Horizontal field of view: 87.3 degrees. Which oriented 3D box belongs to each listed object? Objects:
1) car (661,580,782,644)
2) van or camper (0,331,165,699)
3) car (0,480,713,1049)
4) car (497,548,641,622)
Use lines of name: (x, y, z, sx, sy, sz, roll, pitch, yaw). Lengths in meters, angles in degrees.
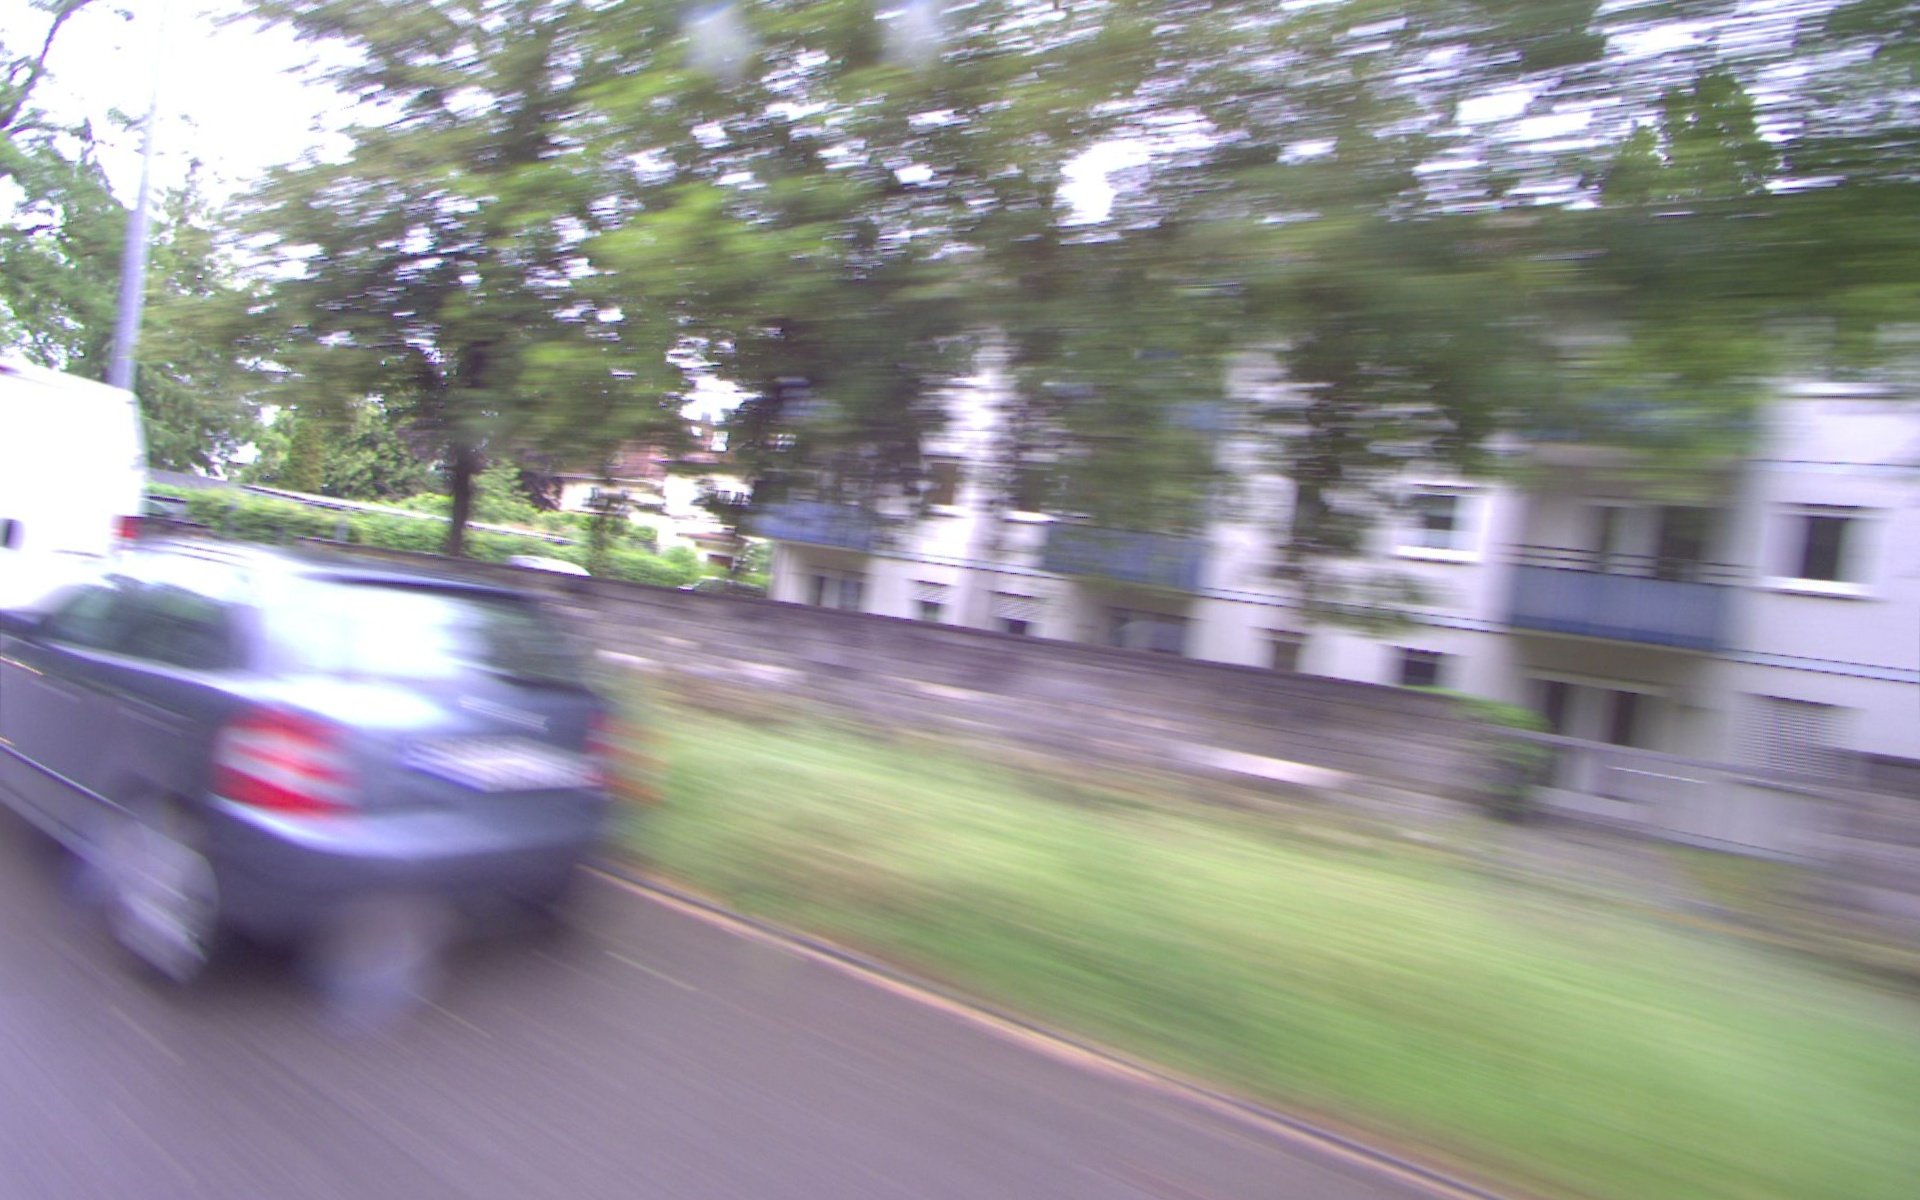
car: (-8.172, 0.395, 34.332, 3.938, 1.550, 1.759, 8, -2, 36)
van or camper: (-9.426, -0.938, 8.681, 5.256, 2.681, 2.083, 8, -1, 31)
car: (-3.099, 0.403, 4.542, 3.747, 1.481, 1.628, 8, -1, 35)
car: (-11.385, -0.445, 29.263, 3.934, 1.550, 1.761, 8, -1, 32)
